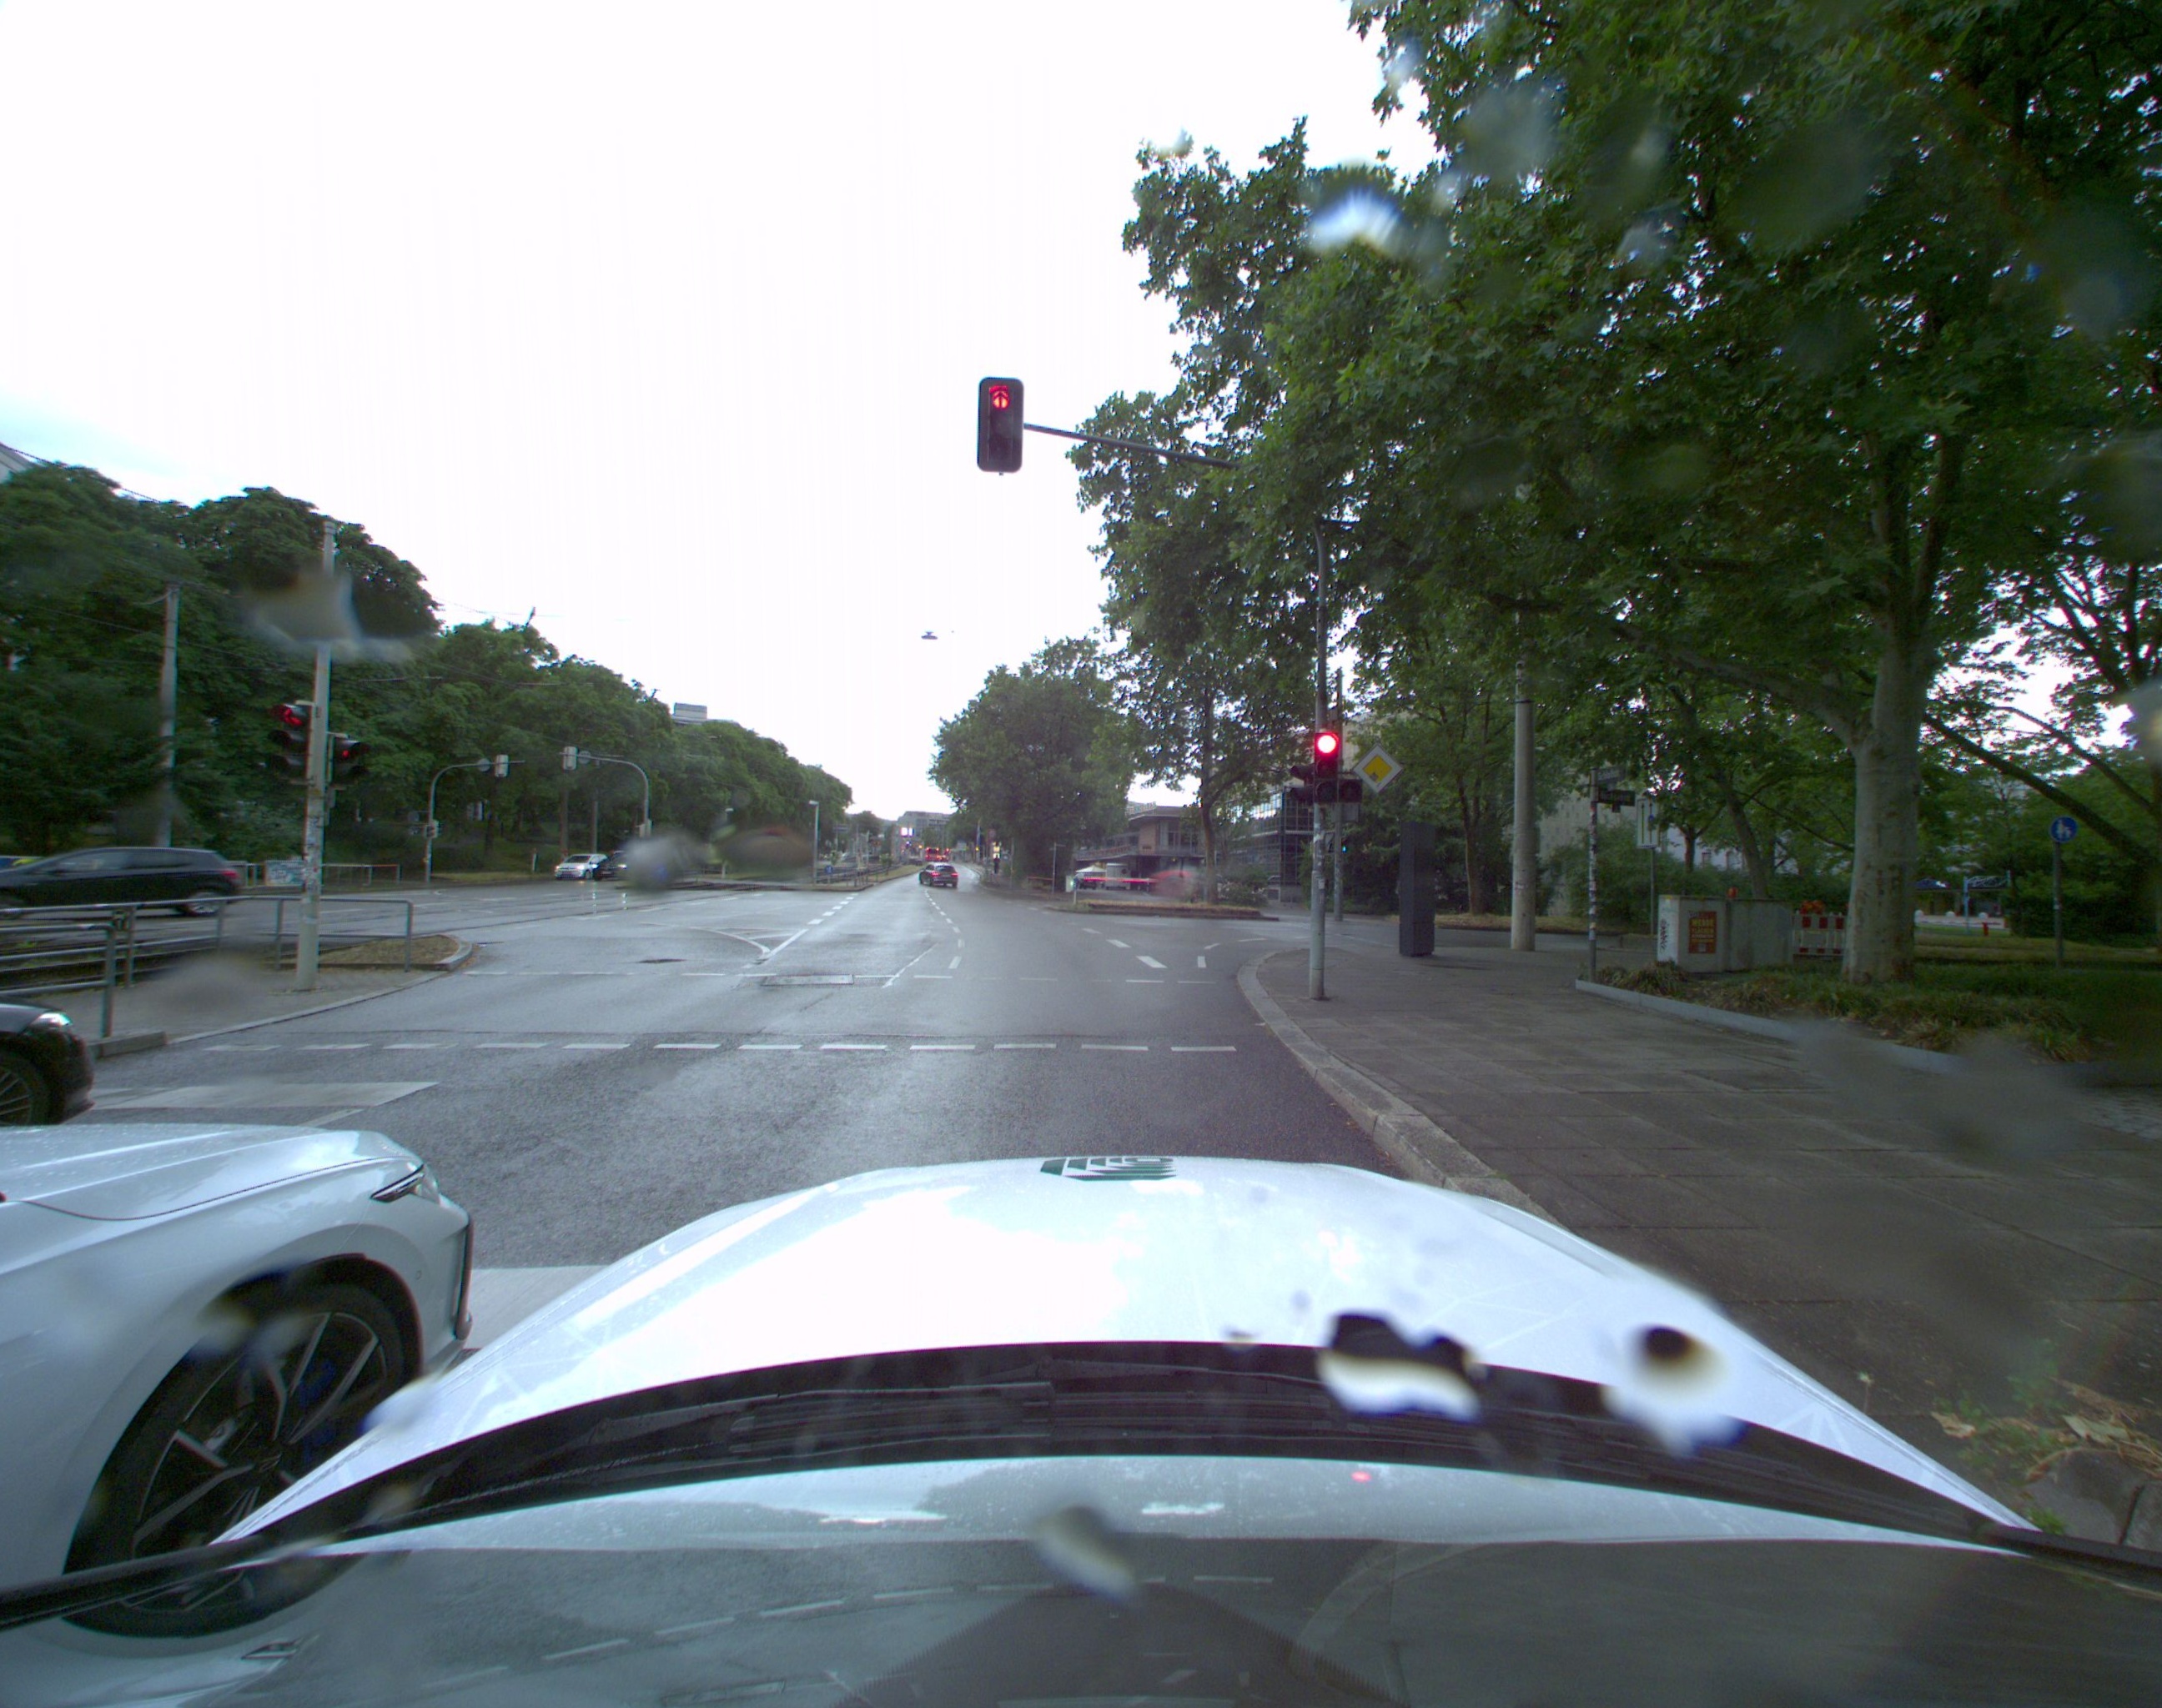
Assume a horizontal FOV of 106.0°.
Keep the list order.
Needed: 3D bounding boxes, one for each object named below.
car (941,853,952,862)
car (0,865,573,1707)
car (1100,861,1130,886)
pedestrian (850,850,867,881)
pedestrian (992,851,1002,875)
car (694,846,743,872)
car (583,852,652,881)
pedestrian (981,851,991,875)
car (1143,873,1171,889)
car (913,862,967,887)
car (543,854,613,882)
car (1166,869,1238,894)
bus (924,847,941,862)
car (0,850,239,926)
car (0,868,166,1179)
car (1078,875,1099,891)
[{"bbox_3d":[-30.124,0.818,182.394,2.364,1.817,5.164,0,-1,-11],"label":"car"},{"bbox_3d":[-2.522,0.744,0.267,1.789,1.442,4.477,0,-1,2],"label":"car"},{"bbox_3d":[3.778,2.141,91.534,2.725,2.695,6.916,2,0,-2],"label":"car"},{"bbox_3d":[-13.289,0.672,48.716,0.870,1.802,0.864,2,-1,-13],"label":"pedestrian"},{"bbox_3d":[-7.344,0.792,71.326,0.873,2.014,1.075,0,-1,-6],"label":"pedestrian"},{"bbox_3d":[-27.174,0.424,61.226,1.917,1.851,4.558,1,-1,-5],"label":"car"},{"bbox_3d":[-25.804,0.703,45.489,1.917,1.546,3.674,1,-1,-5],"label":"car"},{"bbox_3d":[-8.280,0.797,71.157,0.813,2.014,1.075,0,-1,-6],"label":"pedestrian"},{"bbox_3d":[8.287,2.913,89.137,2.020,1.551,4.334,2,0,-10],"label":"car"},{"bbox_3d":[-9.071,1.265,52.054,2.006,1.519,4.308,0,-1,-31],"label":"car"},{"bbox_3d":[-29.006,0.821,47.093,1.917,1.546,3.674,1,-1,-5],"label":"car"},{"bbox_3d":[9.271,2.123,62.118,5.221,1.731,1.860,2,-1,-23],"label":"car"},{"bbox_3d":[-32.439,0.117,177.478,3.591,3.171,10.381,0,-1,-11],"label":"bus"},{"bbox_3d":[-19.727,0.650,16.205,1.612,1.357,3.896,1,-1,36],"label":"car"},{"bbox_3d":[-5.971,0.784,2.221,1.789,1.442,4.477,0,-1,2],"label":"car"},{"bbox_3d":[0.854,3.069,88.068,2.010,1.551,4.355,2,0,4],"label":"car"}]
